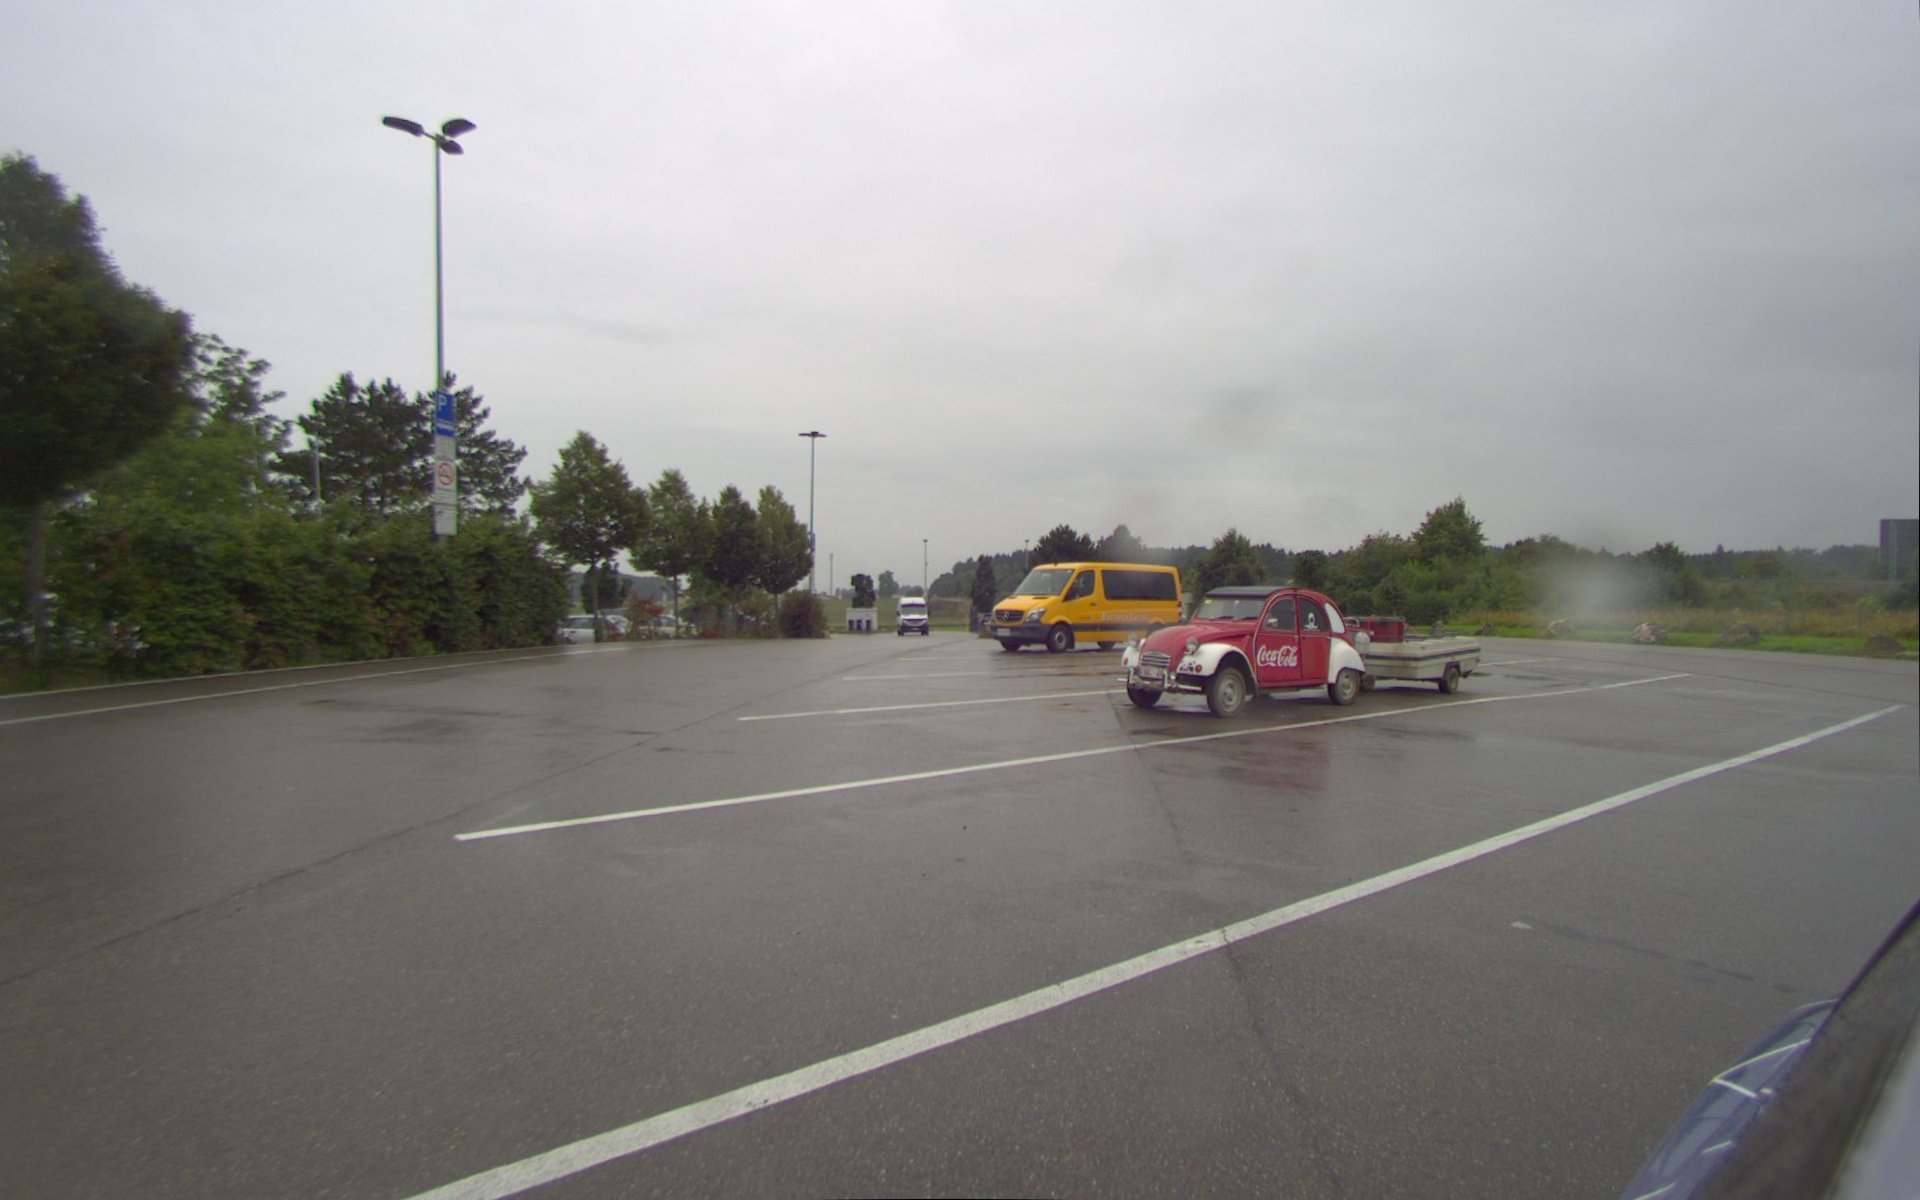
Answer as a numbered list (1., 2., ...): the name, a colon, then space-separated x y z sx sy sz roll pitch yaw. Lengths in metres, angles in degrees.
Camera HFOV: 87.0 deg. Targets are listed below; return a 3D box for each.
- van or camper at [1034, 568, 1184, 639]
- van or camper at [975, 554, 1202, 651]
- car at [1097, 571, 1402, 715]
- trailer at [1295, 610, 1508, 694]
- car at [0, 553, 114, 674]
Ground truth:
1. van or camper: 6.381 0.099 42.750 6.940 2.749 1.999 0 2 -39
2. van or camper: 3.511 0.034 26.622 6.301 2.274 2.133 0 1 -38
3. car: 3.738 0.451 12.794 3.979 1.575 1.550 0 1 -35
4. trailer: 6.528 0.709 14.917 2.972 1.081 1.589 1 0 -35
5. car: -14.936 0.159 14.721 4.024 1.648 1.783 0 1 8
